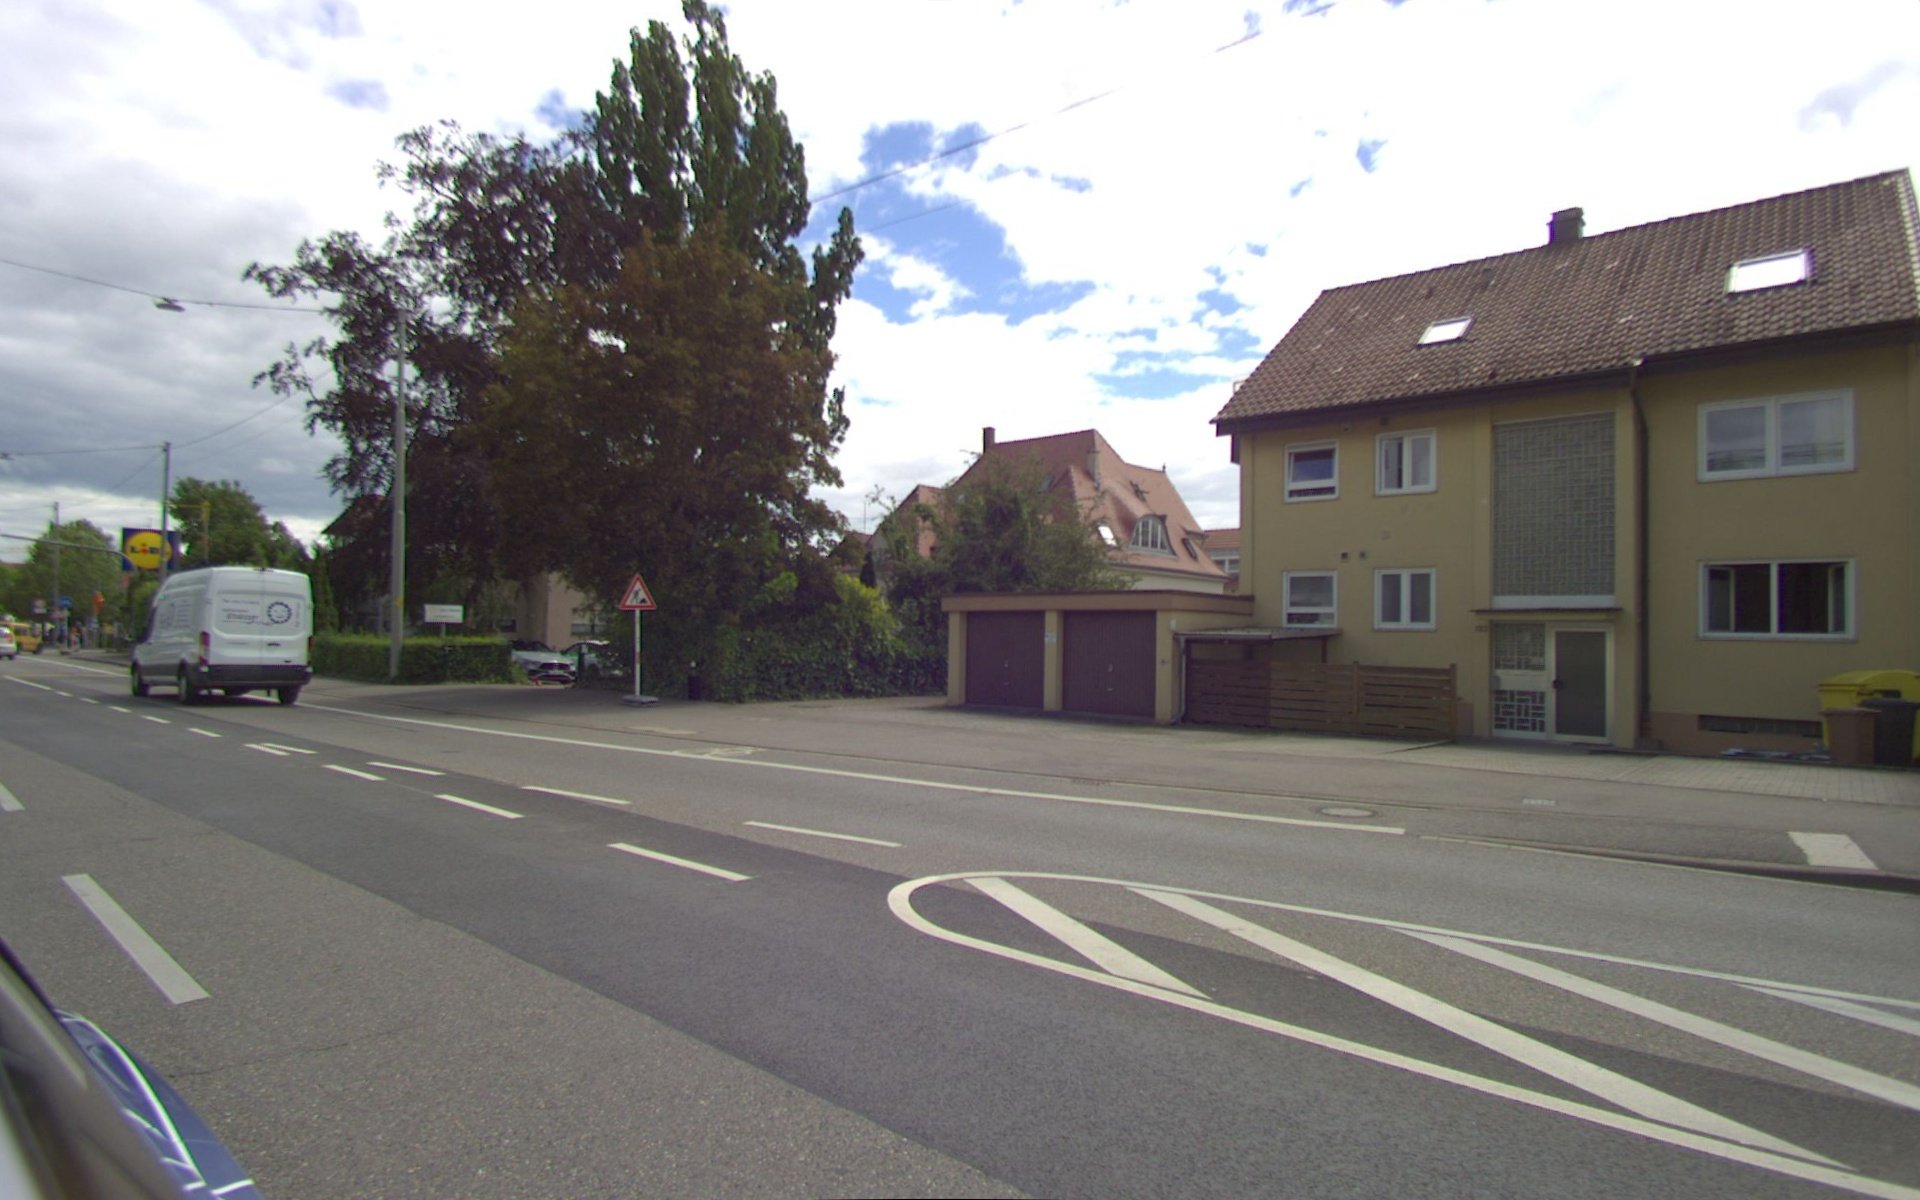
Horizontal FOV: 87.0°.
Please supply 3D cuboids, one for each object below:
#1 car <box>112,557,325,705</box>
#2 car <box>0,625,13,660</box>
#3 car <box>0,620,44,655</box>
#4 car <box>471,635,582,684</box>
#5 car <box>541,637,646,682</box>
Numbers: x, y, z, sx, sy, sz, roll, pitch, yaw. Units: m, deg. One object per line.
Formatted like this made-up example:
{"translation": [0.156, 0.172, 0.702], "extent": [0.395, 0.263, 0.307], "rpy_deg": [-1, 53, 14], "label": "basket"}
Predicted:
{"translation": [-16.317, 0.703, 22.124], "extent": [6.141, 2.841, 2.122], "rpy_deg": [-1, -4, 39], "label": "car"}
{"translation": [-44.194, 1.875, 45.748], "extent": [3.238, 1.530, 1.591], "rpy_deg": [0, -5, 40], "label": "car"}
{"translation": [-53.258, 2.072, 56.464], "extent": [1.965, 1.797, 4.013], "rpy_deg": [0, 0, -24], "label": "car"}
{"translation": [-13.957, 1.904, 32.560], "extent": [3.516, 1.399, 1.646], "rpy_deg": [0, -4, 36], "label": "car"}
{"translation": [-12.754, 2.044, 35.160], "extent": [3.516, 1.399, 1.722], "rpy_deg": [0, -3, 36], "label": "car"}
